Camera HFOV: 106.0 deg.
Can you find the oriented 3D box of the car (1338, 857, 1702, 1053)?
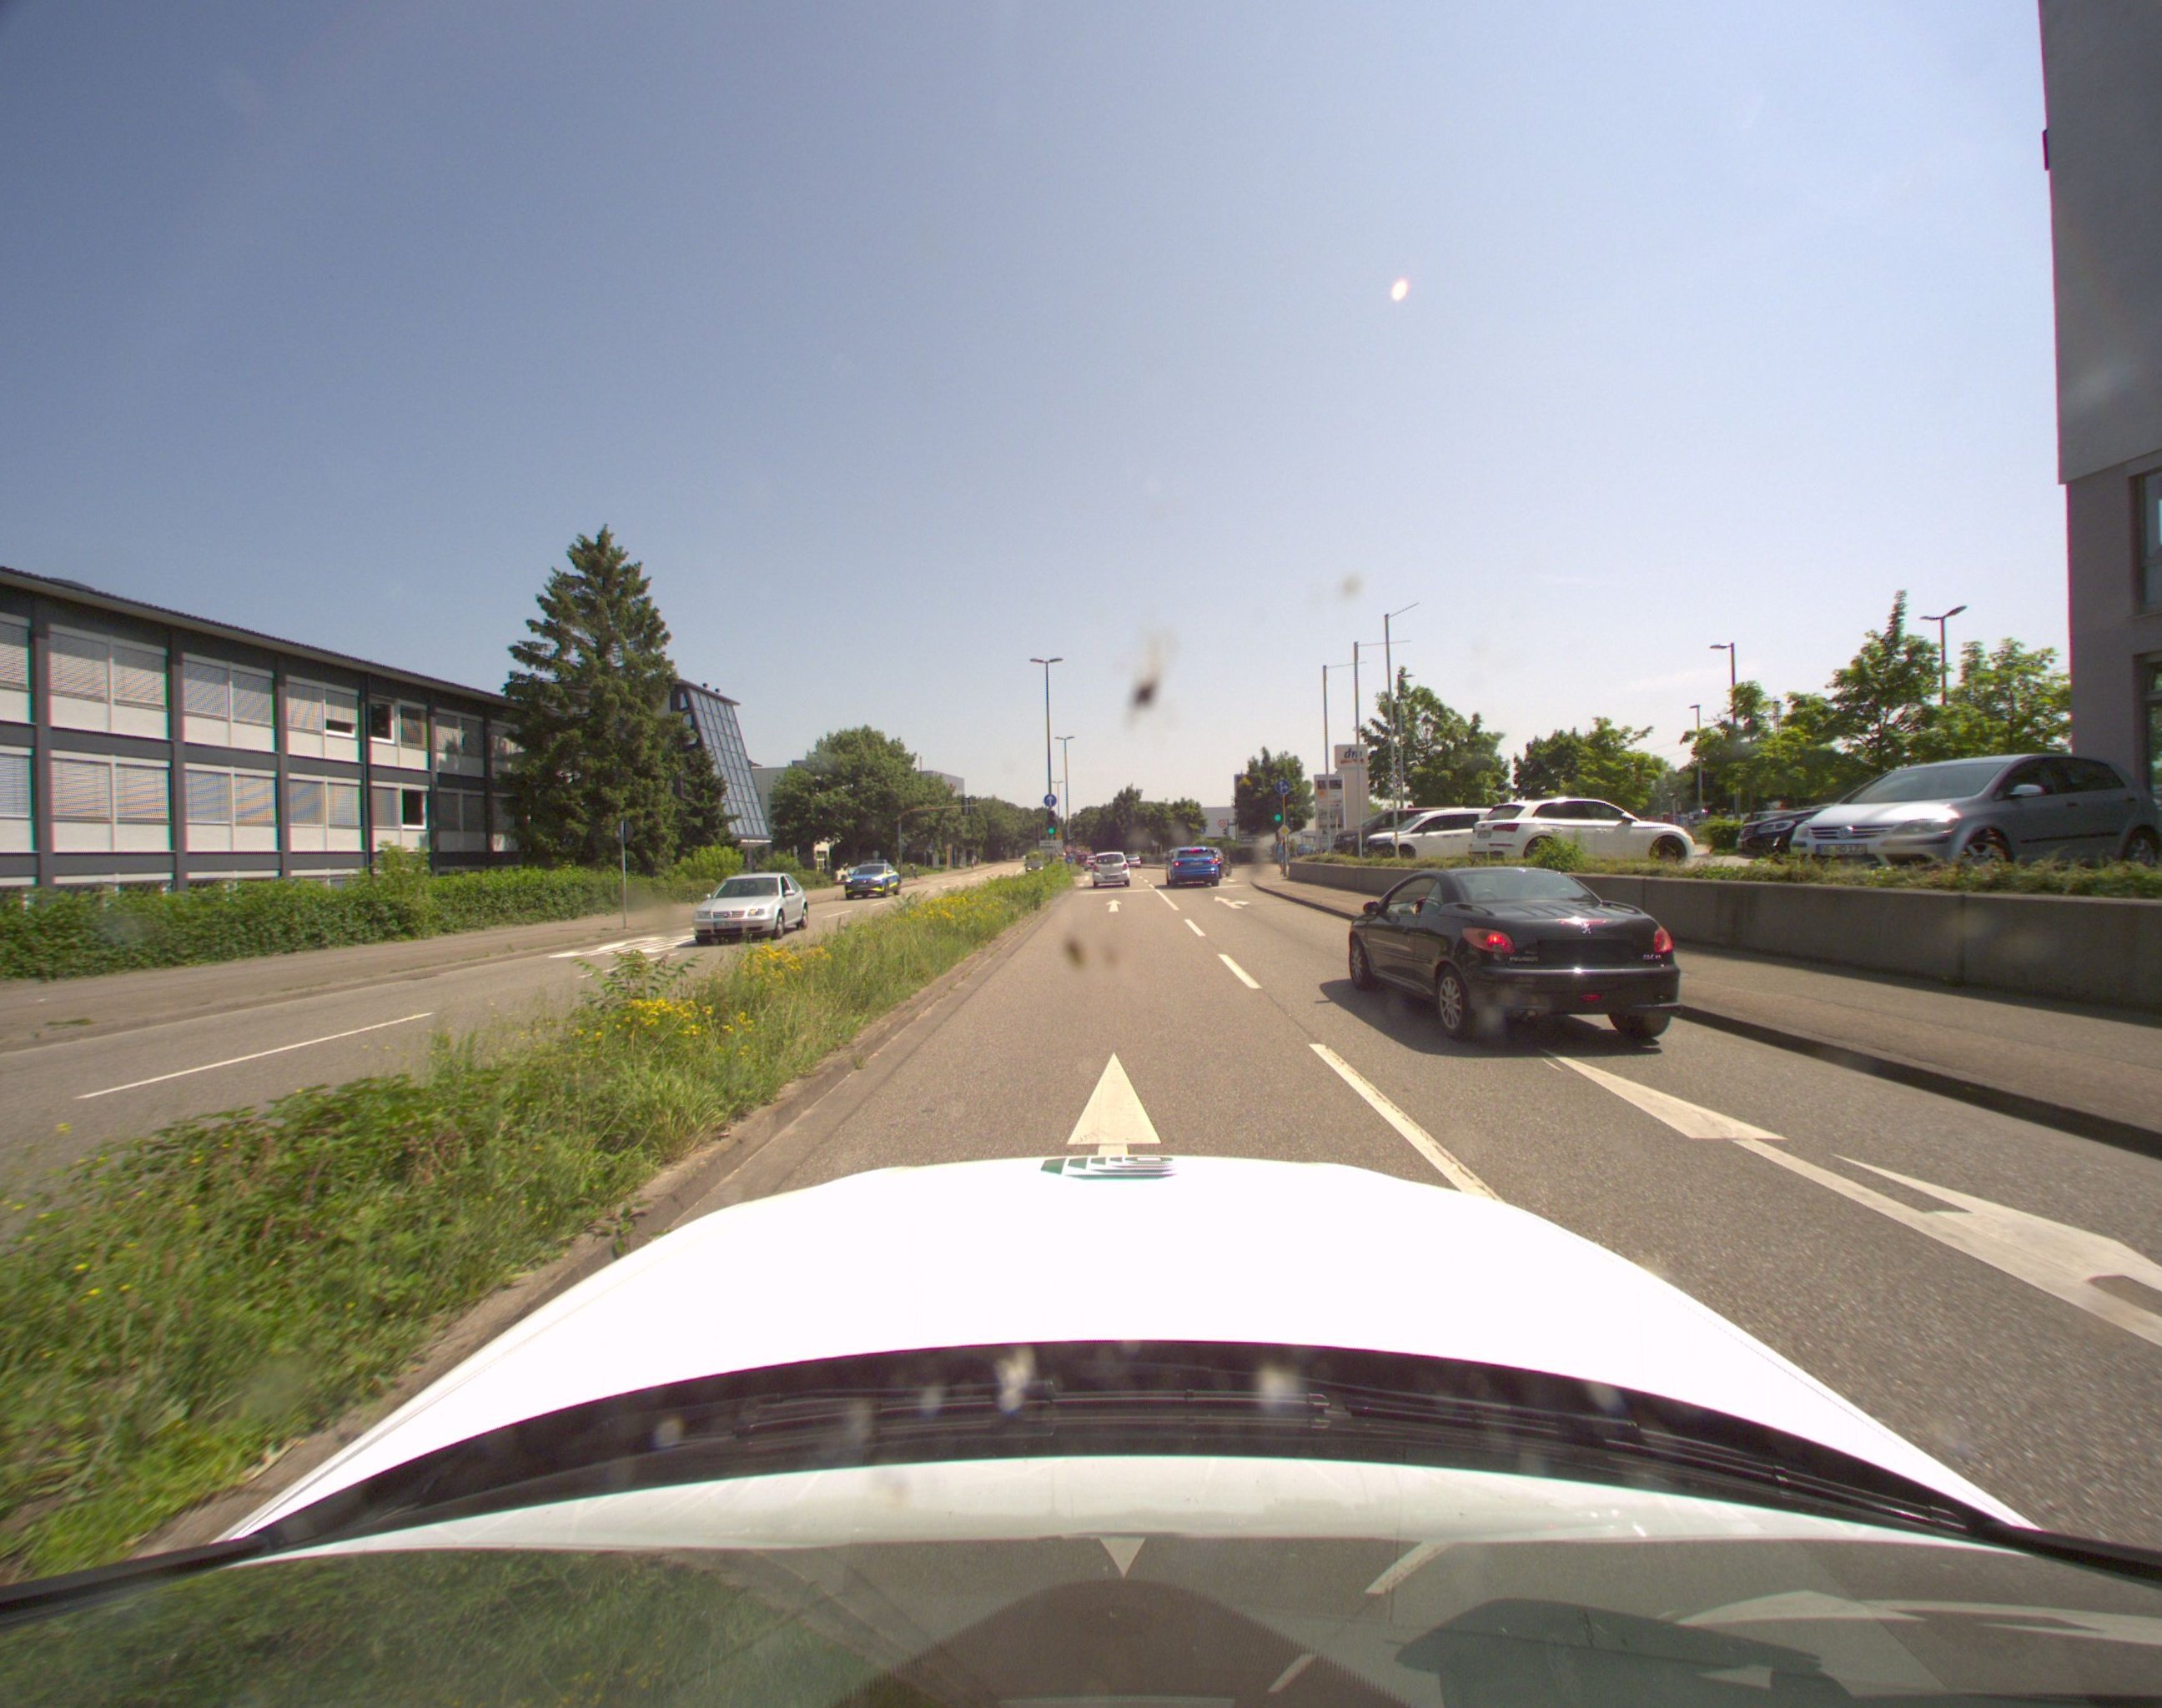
[{"bbox_3d":[3.784,0.747,7.769,1.621,1.364,3.607,0,1,2],"label":"car"}]

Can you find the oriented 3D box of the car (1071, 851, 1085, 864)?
[{"bbox_3d":[-0.433,0.502,117.985,1.791,1.690,4.000,-3,0,1],"label":"car"}]

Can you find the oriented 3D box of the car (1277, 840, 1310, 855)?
[{"bbox_3d":[23.133,-0.692,88.814,1.516,1.464,3.129,-2,0,-38],"label":"car"}]

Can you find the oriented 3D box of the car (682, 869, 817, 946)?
[{"bbox_3d":[-7.387,1.122,18.607,1.734,1.413,4.361,-2,0,-7],"label":"car"}]

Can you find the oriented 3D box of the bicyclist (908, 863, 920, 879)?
[{"bbox_3d":[-17.497,1.783,85.424,0.905,1.572,1.025,-2,0,1],"label":"bicyclist"}]

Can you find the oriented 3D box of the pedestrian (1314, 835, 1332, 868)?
[{"bbox_3d":[12.418,-0.131,41.736,0.652,1.686,0.748,-2,0,1],"label":"pedestrian"}]

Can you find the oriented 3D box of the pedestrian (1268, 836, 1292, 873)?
[{"bbox_3d":[8.904,0.005,36.432,0.767,1.608,1.091,-2,0,28],"label":"pedestrian"}]

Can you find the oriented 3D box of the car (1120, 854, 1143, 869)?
[{"bbox_3d":[5.016,0.738,81.199,1.987,1.420,4.000,-2,0,1],"label":"car"}]

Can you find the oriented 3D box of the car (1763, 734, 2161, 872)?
[{"bbox_3d":[10.878,-0.612,10.063,3.926,1.452,1.756,-3,0,-14],"label":"car"}]

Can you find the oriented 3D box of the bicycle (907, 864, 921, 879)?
[{"bbox_3d":[-17.495,1.828,85.481,0.905,1.502,2.474,-2,0,1],"label":"bicycle"}]

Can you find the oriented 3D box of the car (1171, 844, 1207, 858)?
[{"bbox_3d":[12.921,-0.353,97.760,3.979,1.486,1.648,-2,0,-4],"label":"car"}]

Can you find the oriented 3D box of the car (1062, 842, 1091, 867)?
[{"bbox_3d":[-0.354,-0.007,58.870,1.815,1.661,3.996,-2,1,-3],"label":"car"}]

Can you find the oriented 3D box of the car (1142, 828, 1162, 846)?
[{"bbox_3d":[8.529,-2.018,98.038,1.765,2.013,3.987,-2,1,-2],"label":"car"}]

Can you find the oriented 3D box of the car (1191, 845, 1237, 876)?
[{"bbox_3d":[6.387,0.289,38.948,1.446,1.376,3.510,-2,0,21],"label":"car"}]

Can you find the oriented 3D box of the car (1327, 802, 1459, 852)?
[{"bbox_3d":[11.245,-0.949,29.526,3.975,1.544,1.999,-3,0,-1],"label":"car"}]

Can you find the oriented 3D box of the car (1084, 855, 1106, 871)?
[{"bbox_3d":[1.360,0.881,79.663,1.987,1.442,4.000,-2,0,0],"label":"car"}]

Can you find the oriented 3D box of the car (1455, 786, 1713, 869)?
[{"bbox_3d":[11.148,-0.566,18.308,4.520,1.544,2.000,-3,0,0],"label":"car"}]

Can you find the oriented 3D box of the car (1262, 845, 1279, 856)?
[{"bbox_3d":[24.407,-0.442,104.811,1.498,1.262,3.168,-2,0,3],"label":"car"}]

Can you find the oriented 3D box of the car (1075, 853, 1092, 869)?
[{"bbox_3d":[0.262,0.845,93.752,1.771,1.740,3.997,-2,0,-2],"label":"car"}]

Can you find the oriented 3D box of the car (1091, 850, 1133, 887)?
[{"bbox_3d":[1.397,0.611,36.572,1.741,1.520,3.748,-1,1,2],"label":"car"}]

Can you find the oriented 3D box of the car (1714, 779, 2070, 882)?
[{"bbox_3d":[13.462,-0.354,13.807,3.893,1.452,1.771,-3,0,14],"label":"car"}]

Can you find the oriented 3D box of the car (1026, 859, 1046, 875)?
[{"bbox_3d":[-3.796,1.048,68.824,1.571,1.269,3.725,-2,0,-4],"label":"car"}]

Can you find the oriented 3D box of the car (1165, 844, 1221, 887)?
[{"bbox_3d":[4.416,0.414,32.540,1.821,1.580,3.607,-2,1,2],"label":"car"}]

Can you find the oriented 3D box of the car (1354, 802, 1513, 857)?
[{"bbox_3d":[11.500,-0.764,26.784,4.334,1.544,1.999,-3,0,-1],"label":"car"}]
